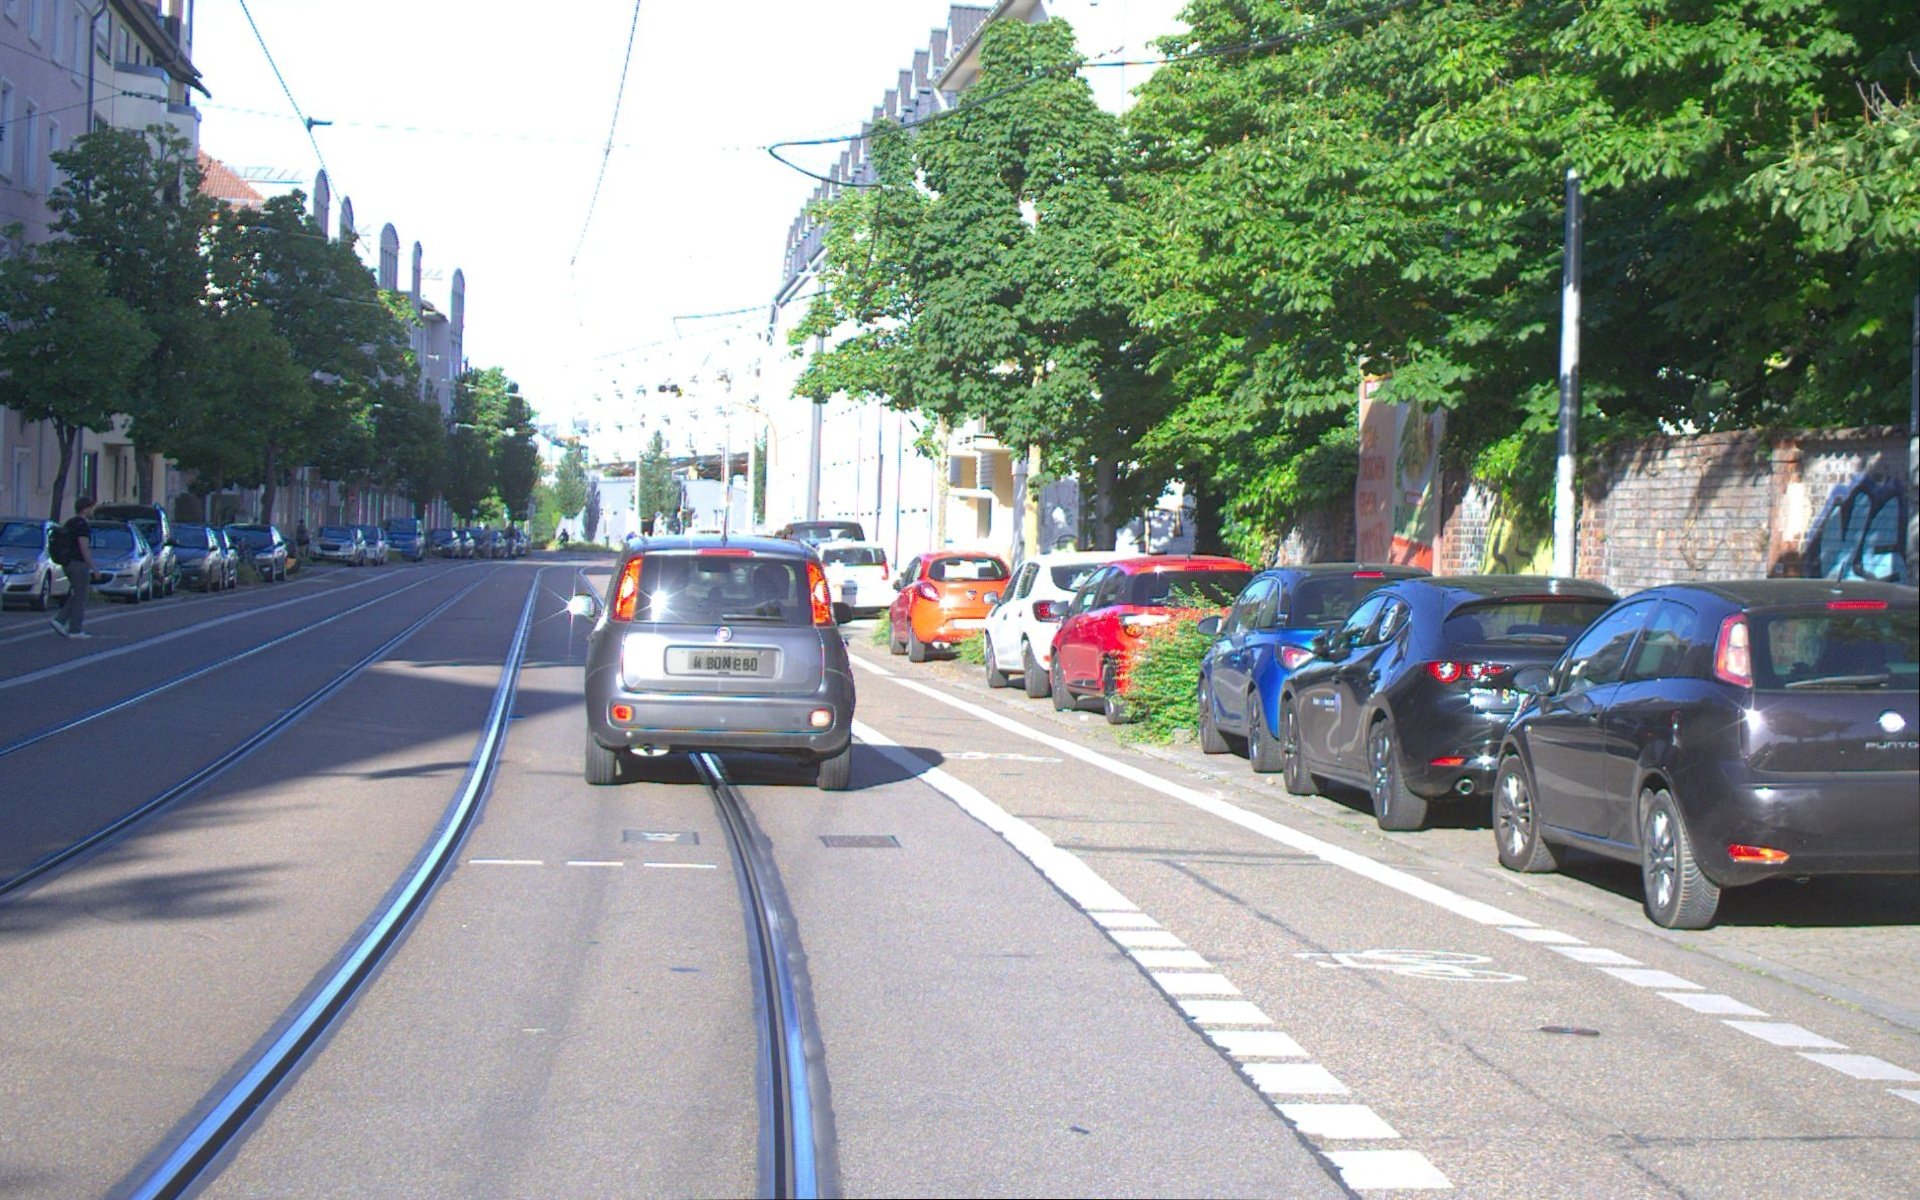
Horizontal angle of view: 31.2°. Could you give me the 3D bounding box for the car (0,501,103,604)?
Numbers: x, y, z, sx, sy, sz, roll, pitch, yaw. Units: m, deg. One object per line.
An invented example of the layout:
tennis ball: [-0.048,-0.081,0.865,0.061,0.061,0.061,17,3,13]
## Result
car: [-14.775,-0.786,54.319,1.808,1.503,4.192,3,1,-7]

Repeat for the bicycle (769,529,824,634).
bicycle: [-2.827,-0.333,59.177,0.675,1.741,2.158,3,1,-8]

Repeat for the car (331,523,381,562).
car: [-24.622,-2.342,140.234,1.706,1.491,3.722,3,1,-6]

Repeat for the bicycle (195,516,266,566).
bicycle: [-18.787,-1.521,88.590,1.728,1.192,0.373,3,1,-10]

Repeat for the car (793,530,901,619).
car: [-2.176,-0.501,65.442,1.655,1.566,3.500,3,1,-7]

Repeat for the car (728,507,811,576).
car: [-4.501,-1.377,80.807,1.655,1.495,3.130,3,1,-7]

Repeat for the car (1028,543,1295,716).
car: [1.841,0.232,32.639,1.688,1.525,4.001,0,1,-9]

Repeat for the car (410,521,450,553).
car: [-26.229,-3.130,170.159,1.706,1.491,3.722,3,1,-6]

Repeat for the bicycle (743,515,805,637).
bicycle: [-2.778,-0.374,51.189,0.675,1.741,2.158,3,1,-8]

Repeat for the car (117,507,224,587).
car: [-17.426,-1.183,75.995,1.808,1.614,4.065,3,1,-7]

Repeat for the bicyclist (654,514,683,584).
bicyclist: [-8.553,-1.503,100.733,0.715,2.007,0.832,3,1,-8]

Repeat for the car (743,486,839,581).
car: [-3.743,-1.466,75.327,1.655,1.937,4.666,3,1,-7]

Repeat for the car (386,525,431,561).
car: [-24.779,-2.561,154.501,1.706,1.491,3.722,3,1,-6]

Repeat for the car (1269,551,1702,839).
car: [3.038,0.486,20.742,1.688,1.525,4.356,0,1,-3]

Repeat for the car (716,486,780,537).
car: [-6.267,-2.609,101.332,1.582,1.400,3.377,3,1,-8]

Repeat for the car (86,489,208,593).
car: [-16.291,-1.191,69.079,1.808,1.937,4.335,3,1,-7]

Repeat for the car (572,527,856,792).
car: [-1.530,0.304,22.187,1.650,1.536,4.235,0,1,-3]

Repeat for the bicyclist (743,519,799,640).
bicyclist: [-2.820,-0.310,51.278,0.699,1.753,0.758,3,1,-8]

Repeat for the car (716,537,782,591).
car: [-5.912,-1.019,96.063,1.582,1.400,3.377,-2,1,-7]

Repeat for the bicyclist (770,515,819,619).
bicyclist: [-2.851,-0.568,59.216,0.699,1.753,0.758,3,1,-8]

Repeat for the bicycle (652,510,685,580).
bicycle: [-8.537,-1.617,100.660,0.741,2.007,2.812,3,1,-8]

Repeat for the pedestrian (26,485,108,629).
pedestrian: [-11.155,-0.541,42.944,0.849,1.770,0.735,0,2,-26]

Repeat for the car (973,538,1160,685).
car: [1.118,0.086,37.861,1.688,1.525,4.001,0,1,-3]

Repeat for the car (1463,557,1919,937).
car: [3.607,0.580,16.069,1.688,1.525,4.001,0,1,-3]

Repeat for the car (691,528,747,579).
car: [-8.059,-1.553,114.590,1.582,1.593,3.377,3,1,-8]

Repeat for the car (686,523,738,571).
car: [-8.803,-1.900,121.856,1.582,1.593,3.377,3,1,-8]

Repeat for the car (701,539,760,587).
car: [-7.252,-1.165,108.433,1.582,1.400,3.377,3,1,-8]

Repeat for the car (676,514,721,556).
car: [-10.645,-2.642,139.696,1.582,1.593,3.377,3,1,-8]

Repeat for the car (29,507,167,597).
car: [-15.746,-0.894,63.005,1.808,1.503,4.682,3,1,-7]

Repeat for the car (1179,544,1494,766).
car: [2.745,0.352,25.878,1.688,1.525,4.001,0,1,-3]

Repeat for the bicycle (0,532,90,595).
bicycle: [-15.708,-0.624,58.464,1.666,0.998,0.476,3,1,-3]

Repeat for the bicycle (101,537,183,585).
bicycle: [-17.263,-0.826,72.571,1.631,0.934,0.517,3,1,-10]

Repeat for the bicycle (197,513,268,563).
bicycle: [-18.820,-1.605,88.943,1.728,1.192,0.373,3,1,-10]

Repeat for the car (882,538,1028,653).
car: [-0.106,-0.091,47.427,1.635,1.503,3.398,-1,1,-7]

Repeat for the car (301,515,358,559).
car: [-23.076,-2.318,125.963,1.706,1.491,3.722,3,1,-6]
